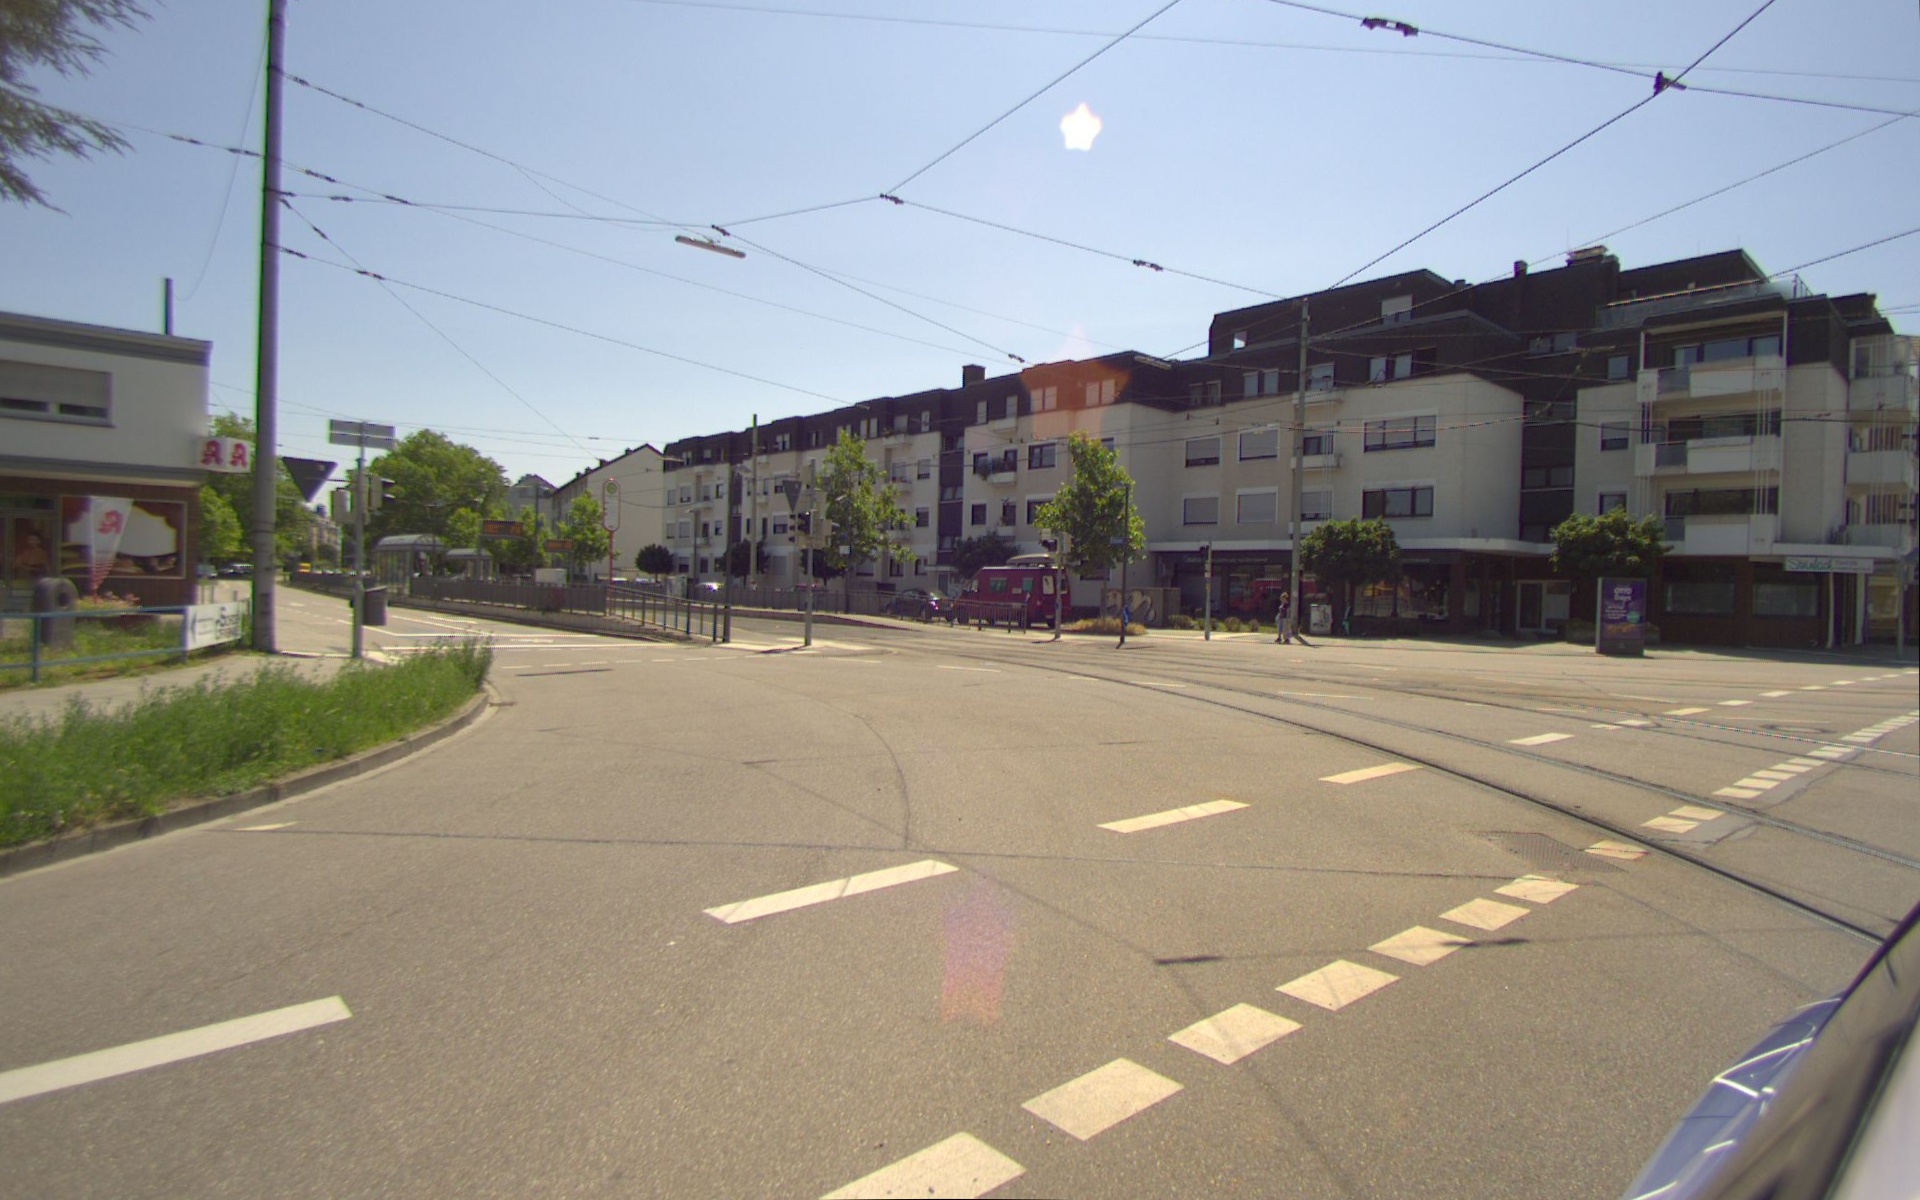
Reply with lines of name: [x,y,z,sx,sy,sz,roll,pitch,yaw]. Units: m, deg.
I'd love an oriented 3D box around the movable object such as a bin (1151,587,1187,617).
movable object such as a bin: [9.926,0.092,48.092,1.045,1.424,1.320,1,0,-42]

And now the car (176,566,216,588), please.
car: [-61.378,-1.831,81.233,3.987,1.683,1.968,2,1,44]

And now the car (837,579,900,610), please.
car: [-5.146,-0.333,56.434,1.625,1.629,3.646,1,1,-42]

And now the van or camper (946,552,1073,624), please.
van or camper: [1.985,-0.511,42.034,2.170,2.800,5.231,2,0,-42]

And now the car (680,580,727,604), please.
car: [-15.709,-0.486,61.862,1.426,1.371,3.359,2,0,-40]

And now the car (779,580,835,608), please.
car: [-8.188,-0.307,54.075,1.426,1.398,3.358,0,0,-40]

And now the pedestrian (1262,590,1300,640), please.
pedestrian: [10.605,0.498,33.454,0.810,1.603,0.829,1,0,-32]

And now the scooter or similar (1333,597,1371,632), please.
scooter or similar: [13.951,0.512,36.007,1.241,1.228,0.391,1,0,23]

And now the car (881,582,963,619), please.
car: [-1.770,0.015,46.304,1.650,1.567,3.799,1,1,-42]
